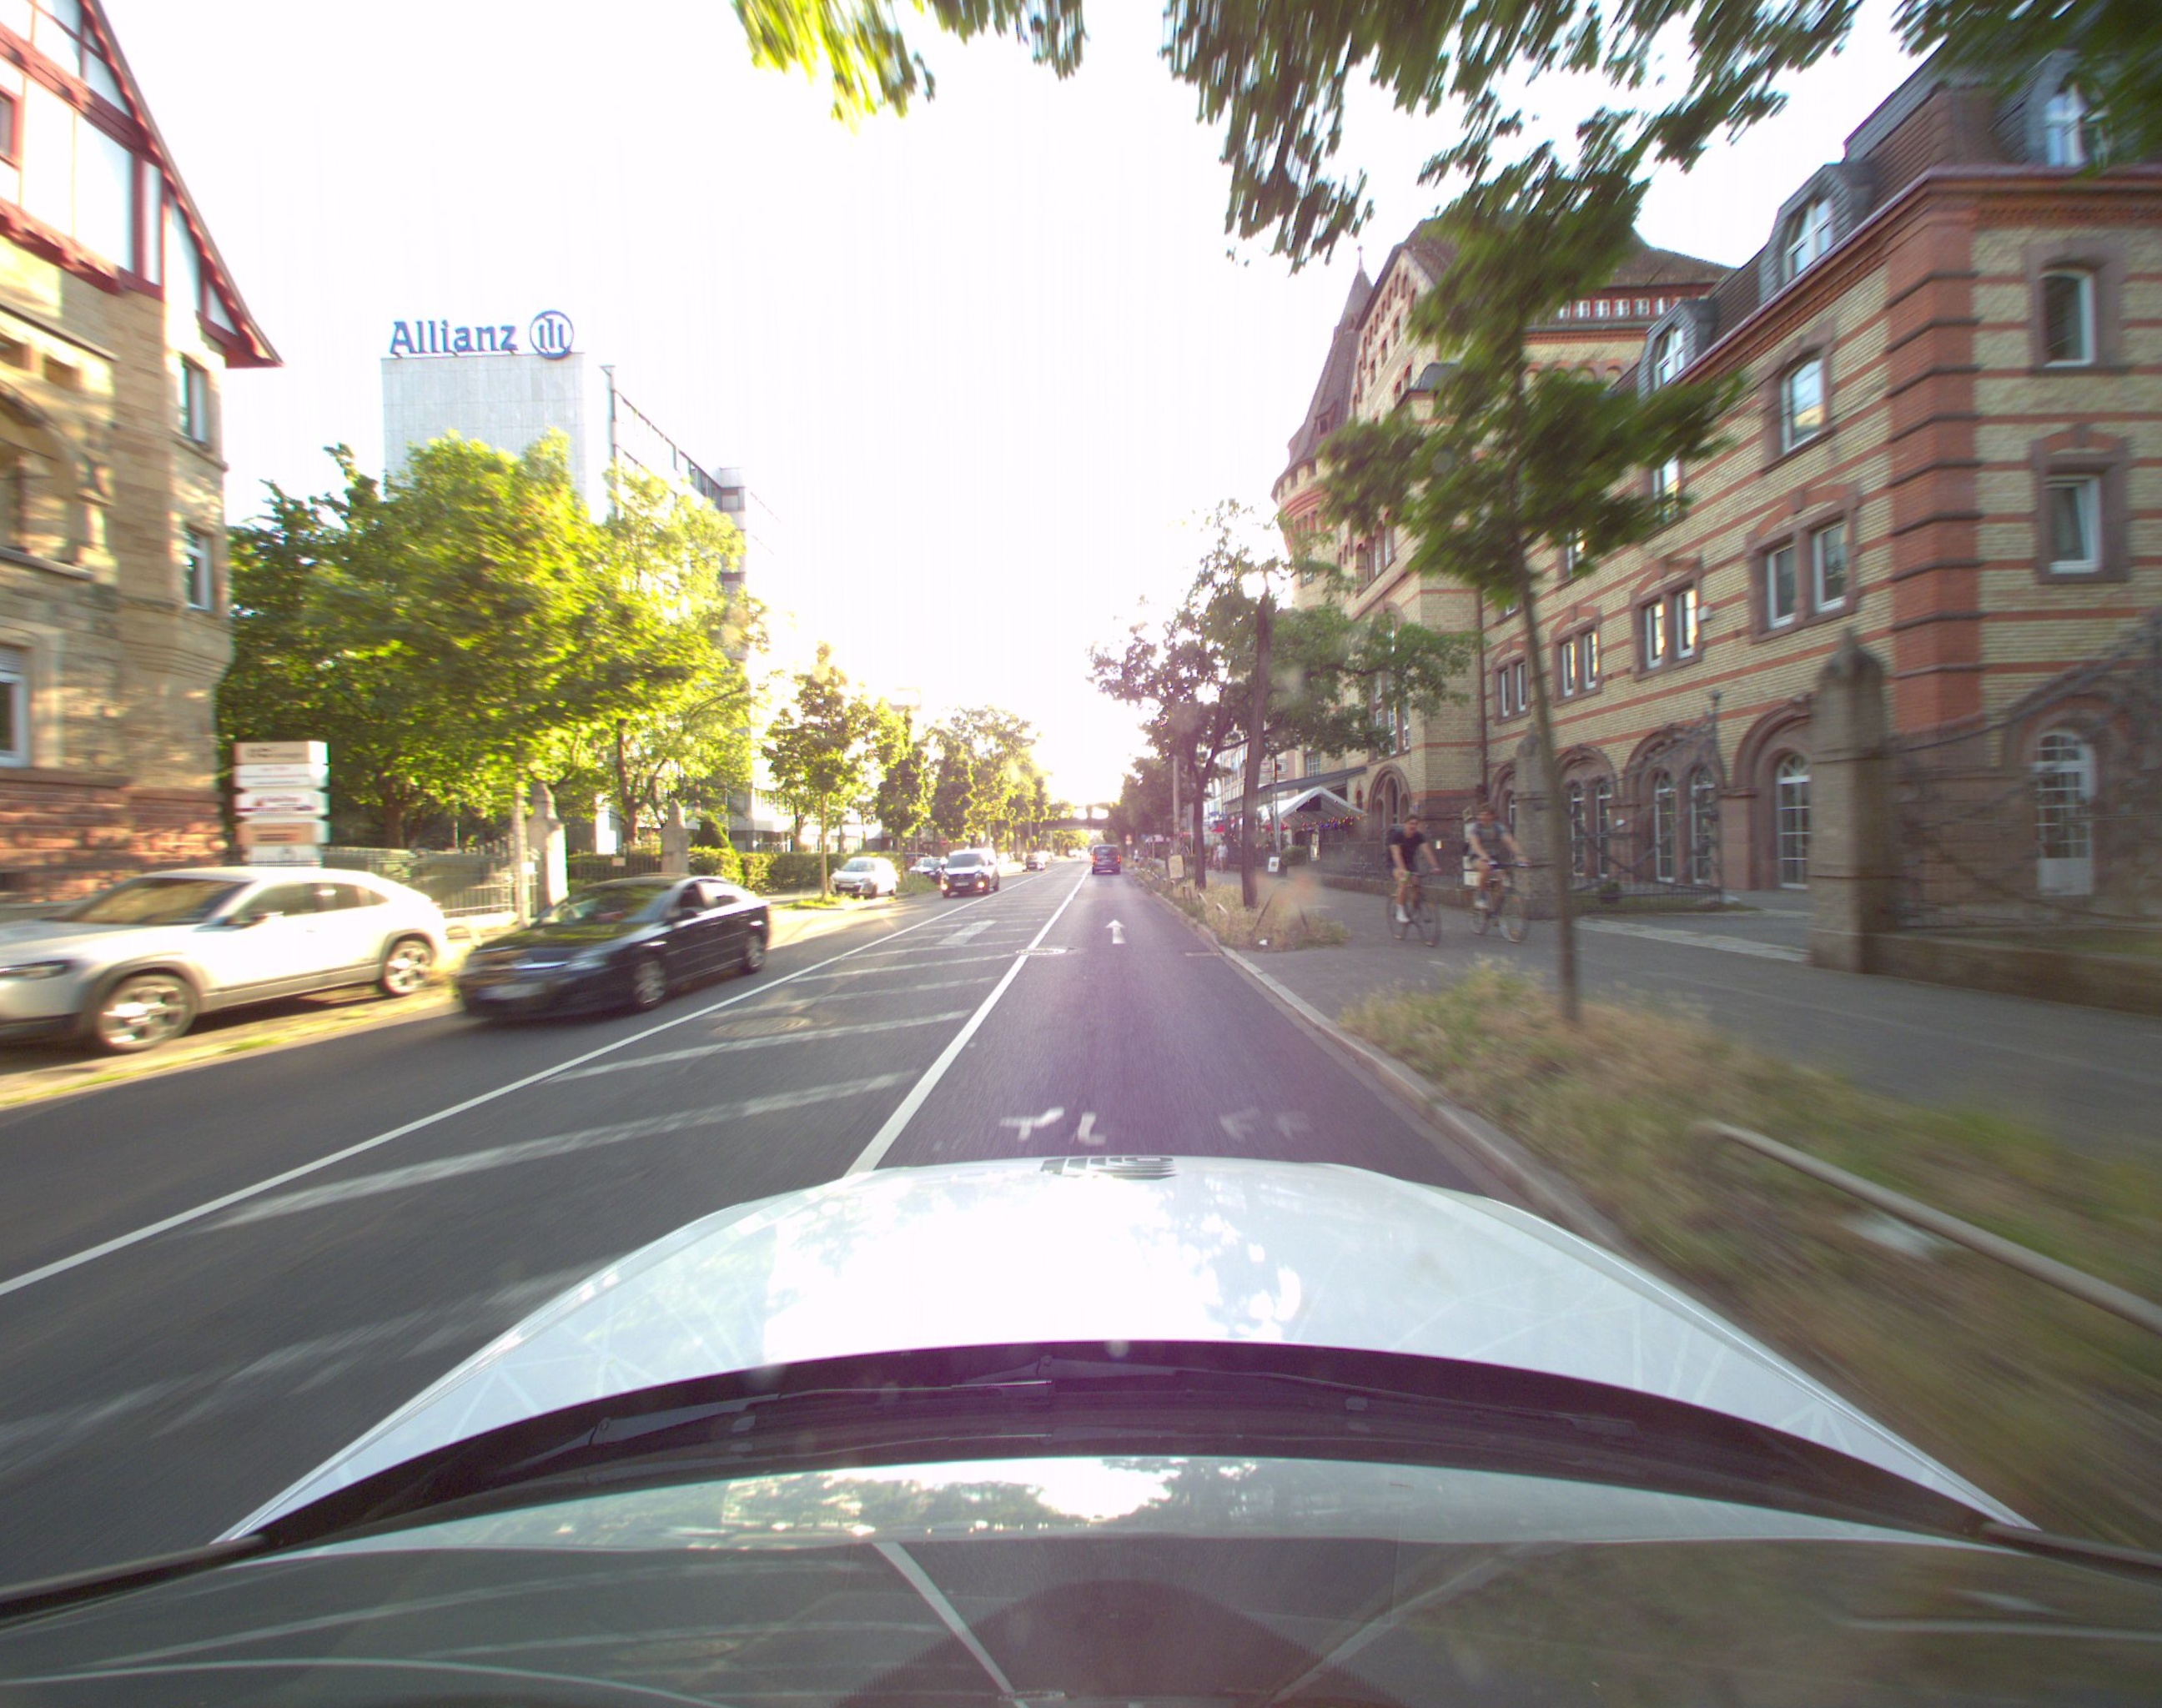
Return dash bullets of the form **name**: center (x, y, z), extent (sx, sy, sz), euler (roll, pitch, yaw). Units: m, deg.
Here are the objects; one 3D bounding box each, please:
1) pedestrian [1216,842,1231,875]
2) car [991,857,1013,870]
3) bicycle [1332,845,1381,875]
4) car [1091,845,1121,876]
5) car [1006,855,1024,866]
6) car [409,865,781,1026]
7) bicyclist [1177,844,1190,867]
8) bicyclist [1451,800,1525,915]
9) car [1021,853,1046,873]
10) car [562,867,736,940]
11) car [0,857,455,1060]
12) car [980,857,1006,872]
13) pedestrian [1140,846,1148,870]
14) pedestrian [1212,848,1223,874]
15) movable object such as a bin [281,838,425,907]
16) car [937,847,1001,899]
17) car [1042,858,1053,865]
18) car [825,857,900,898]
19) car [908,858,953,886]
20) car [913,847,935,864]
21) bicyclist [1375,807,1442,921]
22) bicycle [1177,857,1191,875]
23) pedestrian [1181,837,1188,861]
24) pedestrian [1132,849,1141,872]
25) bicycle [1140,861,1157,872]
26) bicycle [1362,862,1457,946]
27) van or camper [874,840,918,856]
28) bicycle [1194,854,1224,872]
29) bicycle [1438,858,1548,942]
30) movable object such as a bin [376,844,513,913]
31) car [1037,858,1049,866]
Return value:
- **pedestrian**: center (7.233, 0.230, 41.233), extent (0.642, 1.633, 0.656), euler (1, 0, 1)
- **car**: center (-9.170, 1.128, 95.160), extent (1.986, 1.414, 4.238), euler (1, 0, 2)
- **bicycle**: center (9.028, 0.204, 26.731), extent (1.439, 0.946, 0.535), euler (1, 0, 2)
- **car**: center (1.662, 0.393, 54.224), extent (1.880, 1.925, 3.841), euler (-2, 0, 2)
- **car**: center (-8.805, 0.818, 109.101), extent (1.986, 1.414, 4.238), euler (1, 0, 2)
- **car**: center (-5.377, 0.894, 9.828), extent (1.753, 1.386, 4.306), euler (-2, 0, 1)
- **bicyclist**: center (5.387, 0.079, 42.854), extent (0.583, 1.236, 1.112), euler (1, 0, 1)
- **bicyclist**: center (5.614, 0.047, 11.273), extent (0.593, 1.532, 0.894), euler (1, 0, 1)
- **car**: center (-3.911, 0.700, 68.153), extent (1.673, 1.530, 4.001), euler (-3, 0, 1)
- **car**: center (-8.544, 0.923, 16.469), extent (1.531, 1.248, 3.614), euler (1, 0, 0)
- **car**: center (-9.074, 0.821, 8.476), extent (1.740, 1.535, 4.302), euler (1, 0, 0)
- **car**: center (-8.820, 1.043, 81.725), extent (1.986, 1.414, 4.238), euler (1, 0, 2)
- **pedestrian**: center (5.020, 0.289, 64.679), extent (0.505, 1.889, 0.543), euler (1, 0, -13)
- **pedestrian**: center (7.148, 0.370, 42.698), extent (0.465, 1.350, 0.530), euler (1, 0, 2)
- **movable object such as a bin**: center (-16.432, 0.408, 18.451), extent (1.934, 1.379, 1.328), euler (4, -1, 0)
- **car**: center (-4.353, 0.705, 32.365), extent (1.827, 1.853, 4.474), euler (-2, 0, 0)
- **car**: center (-7.167, 1.653, 174.880), extent (1.986, 1.414, 4.238), euler (1, 0, 2)
- **car**: center (-8.230, 0.847, 31.012), extent (1.691, 1.451, 4.000), euler (1, 0, 0)
- **car**: center (-7.961, 0.903, 43.395), extent (1.632, 1.385, 4.000), euler (1, 0, 0)
- **car**: center (-22.101, 0.224, 114.822), extent (1.986, 2.307, 5.247), euler (1, 0, 2)
- **bicyclist**: center (4.568, 0.138, 11.409), extent (0.593, 1.532, 0.894), euler (1, 0, 1)
- **bicycle**: center (5.388, 0.611, 42.735), extent (0.577, 0.897, 1.988), euler (1, 0, 2)
- **pedestrian**: center (11.111, -0.523, 87.411), extent (0.712, 2.539, 0.824), euler (1, 0, 1)
- **pedestrian**: center (4.429, 0.521, 65.109), extent (0.505, 1.889, 0.543), euler (1, 0, -13)
- **bicycle**: center (5.407, 1.008, 65.473), extent (0.590, 0.897, 1.975), euler (1, 0, -18)
- **bicycle**: center (4.565, 0.650, 11.462), extent (0.542, 1.040, 2.089), euler (1, 0, 1)
- **van or camper**: center (-30.190, -1.012, 132.831), extent (6.543, 2.522, 2.449), euler (1, 0, -1)
- **bicycle**: center (8.994, 0.640, 57.165), extent (1.977, 1.226, 0.547), euler (1, 0, -5)
- **bicycle**: center (5.636, 0.587, 11.285), extent (0.515, 1.040, 2.089), euler (1, 0, 1)
- **movable object such as a bin**: center (-14.402, 0.537, 18.497), extent (1.934, 1.379, 1.328), euler (4, -1, 0)
- **car**: center (-7.297, 1.472, 156.645), extent (1.986, 1.414, 4.238), euler (1, 0, 2)
